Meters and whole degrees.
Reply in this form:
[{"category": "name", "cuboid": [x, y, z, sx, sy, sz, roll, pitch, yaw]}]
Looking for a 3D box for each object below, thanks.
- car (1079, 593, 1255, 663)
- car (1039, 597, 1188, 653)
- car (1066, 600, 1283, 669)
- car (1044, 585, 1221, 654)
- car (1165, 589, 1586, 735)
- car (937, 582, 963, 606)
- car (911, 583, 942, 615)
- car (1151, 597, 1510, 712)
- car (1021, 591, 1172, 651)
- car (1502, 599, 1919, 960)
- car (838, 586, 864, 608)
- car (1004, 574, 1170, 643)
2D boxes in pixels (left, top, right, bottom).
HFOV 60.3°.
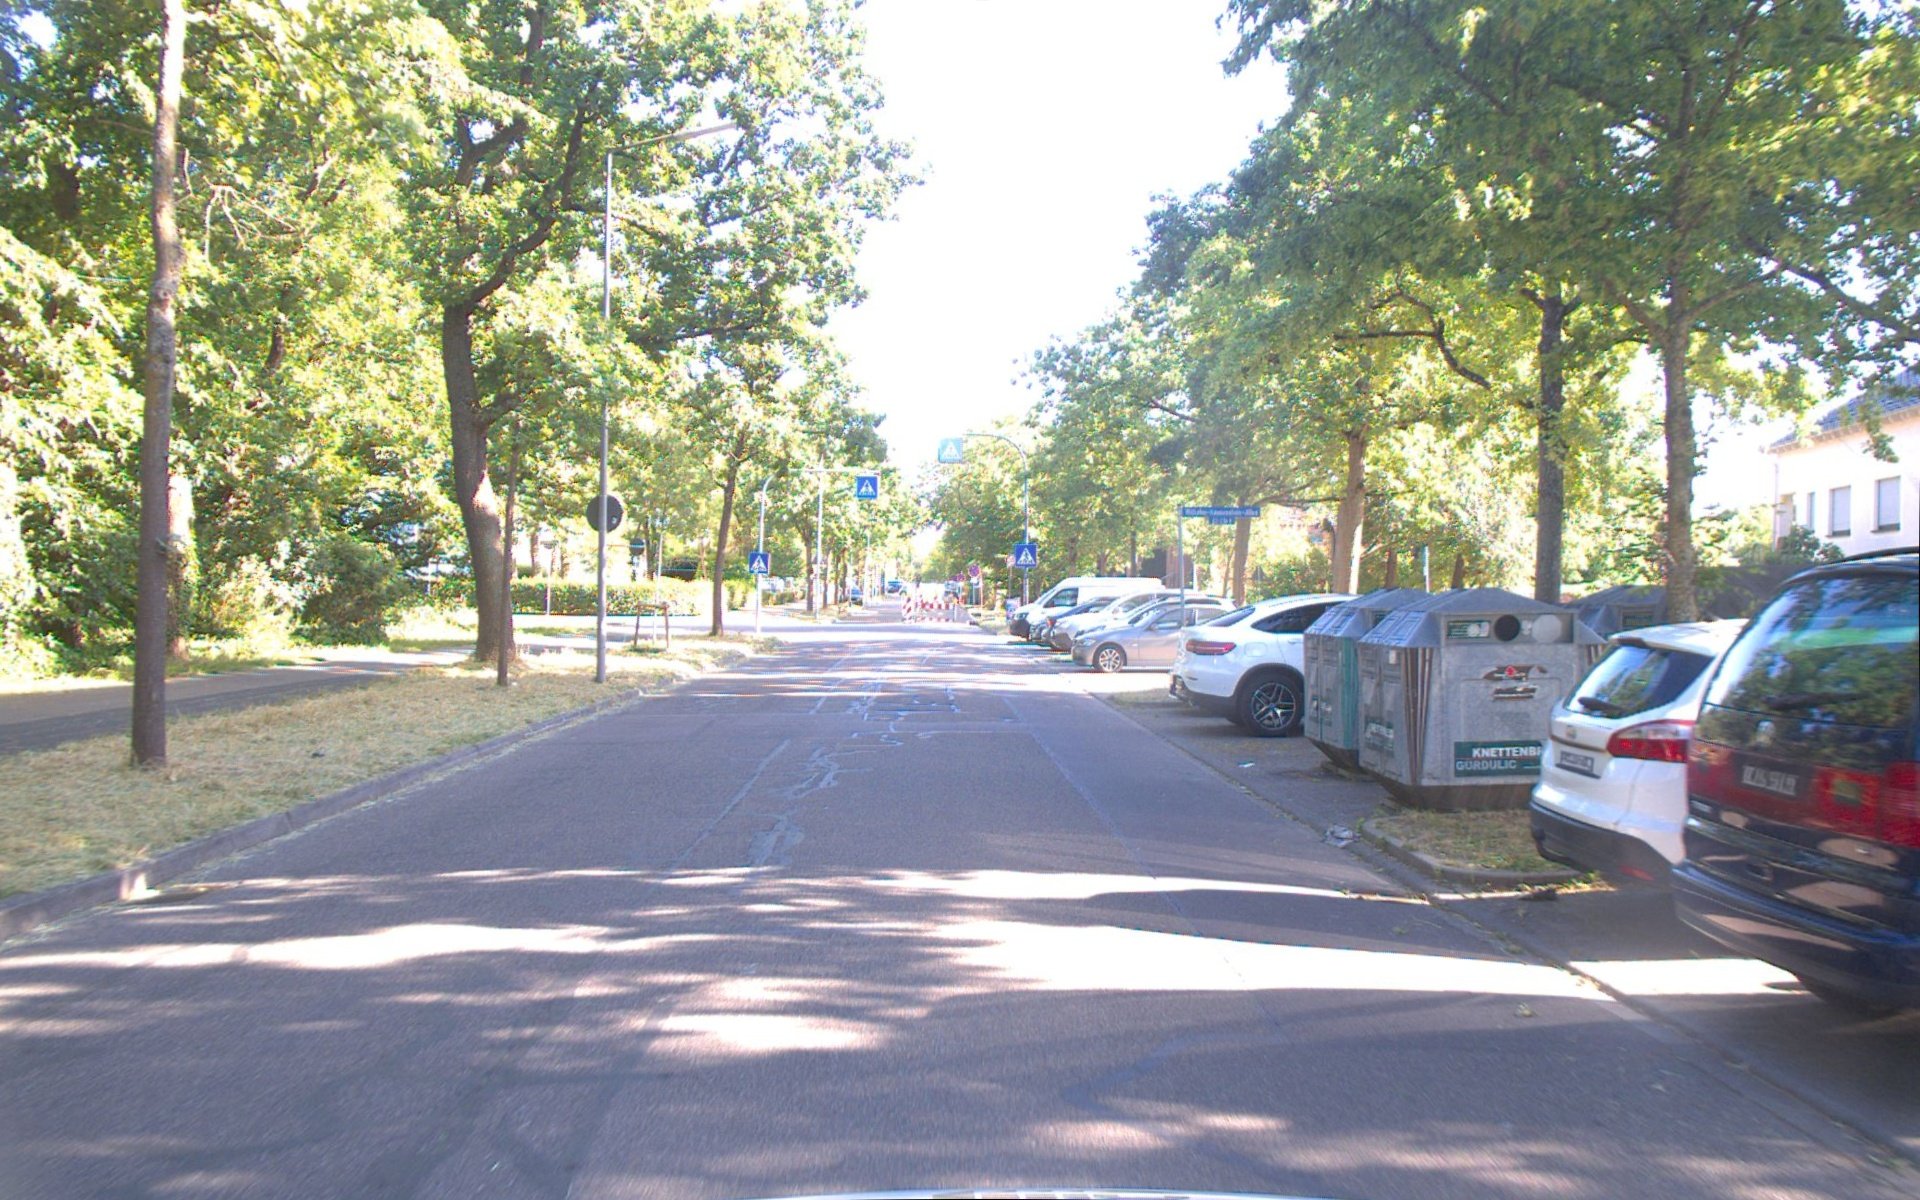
[{"category": "car", "cuboid": [4.748, 0.626, 38.238, 3.806, 1.523, 1.776, -1, 0, -2]}, {"category": "car", "cuboid": [4.162, 0.670, 45.315, 3.905, 1.458, 1.901, 1, 0, 0]}, {"category": "car", "cuboid": [4.499, 0.710, 35.182, 4.355, 1.414, 1.910, 0, 0, -2]}, {"category": "car", "cuboid": [4.416, 0.496, 42.786, 4.297, 1.680, 1.850, -1, 0, -3]}, {"category": "car", "cuboid": [4.877, 0.700, 19.879, 4.575, 1.608, 1.916, -1, 0, -1]}, {"category": "car", "cuboid": [-0.810, -0.473, 129.742, 1.953, 1.746, 3.999, 2, 0, -2]}, {"category": "car", "cuboid": [-2.209, -0.075, 108.707, 1.953, 1.966, 3.999, 2, 0, -2]}, {"category": "car", "cuboid": [5.091, 0.729, 23.166, 4.576, 1.481, 1.916, -1, 0, -2]}, {"category": "car", "cuboid": [3.923, 0.584, 47.936, 4.129, 1.596, 1.932, 2, 0, -3]}, {"category": "car", "cuboid": [4.960, 0.753, 7.930, 4.134, 1.497, 1.800, -1, 0, 0]}, {"category": "car", "cuboid": [-8.908, -0.259, 135.790, 1.953, 1.746, 3.999, 2, 0, -2]}, {"category": "car", "cuboid": [4.041, 0.273, 53.088, 5.083, 2.142, 2.081, 0, 0, -3]}]
